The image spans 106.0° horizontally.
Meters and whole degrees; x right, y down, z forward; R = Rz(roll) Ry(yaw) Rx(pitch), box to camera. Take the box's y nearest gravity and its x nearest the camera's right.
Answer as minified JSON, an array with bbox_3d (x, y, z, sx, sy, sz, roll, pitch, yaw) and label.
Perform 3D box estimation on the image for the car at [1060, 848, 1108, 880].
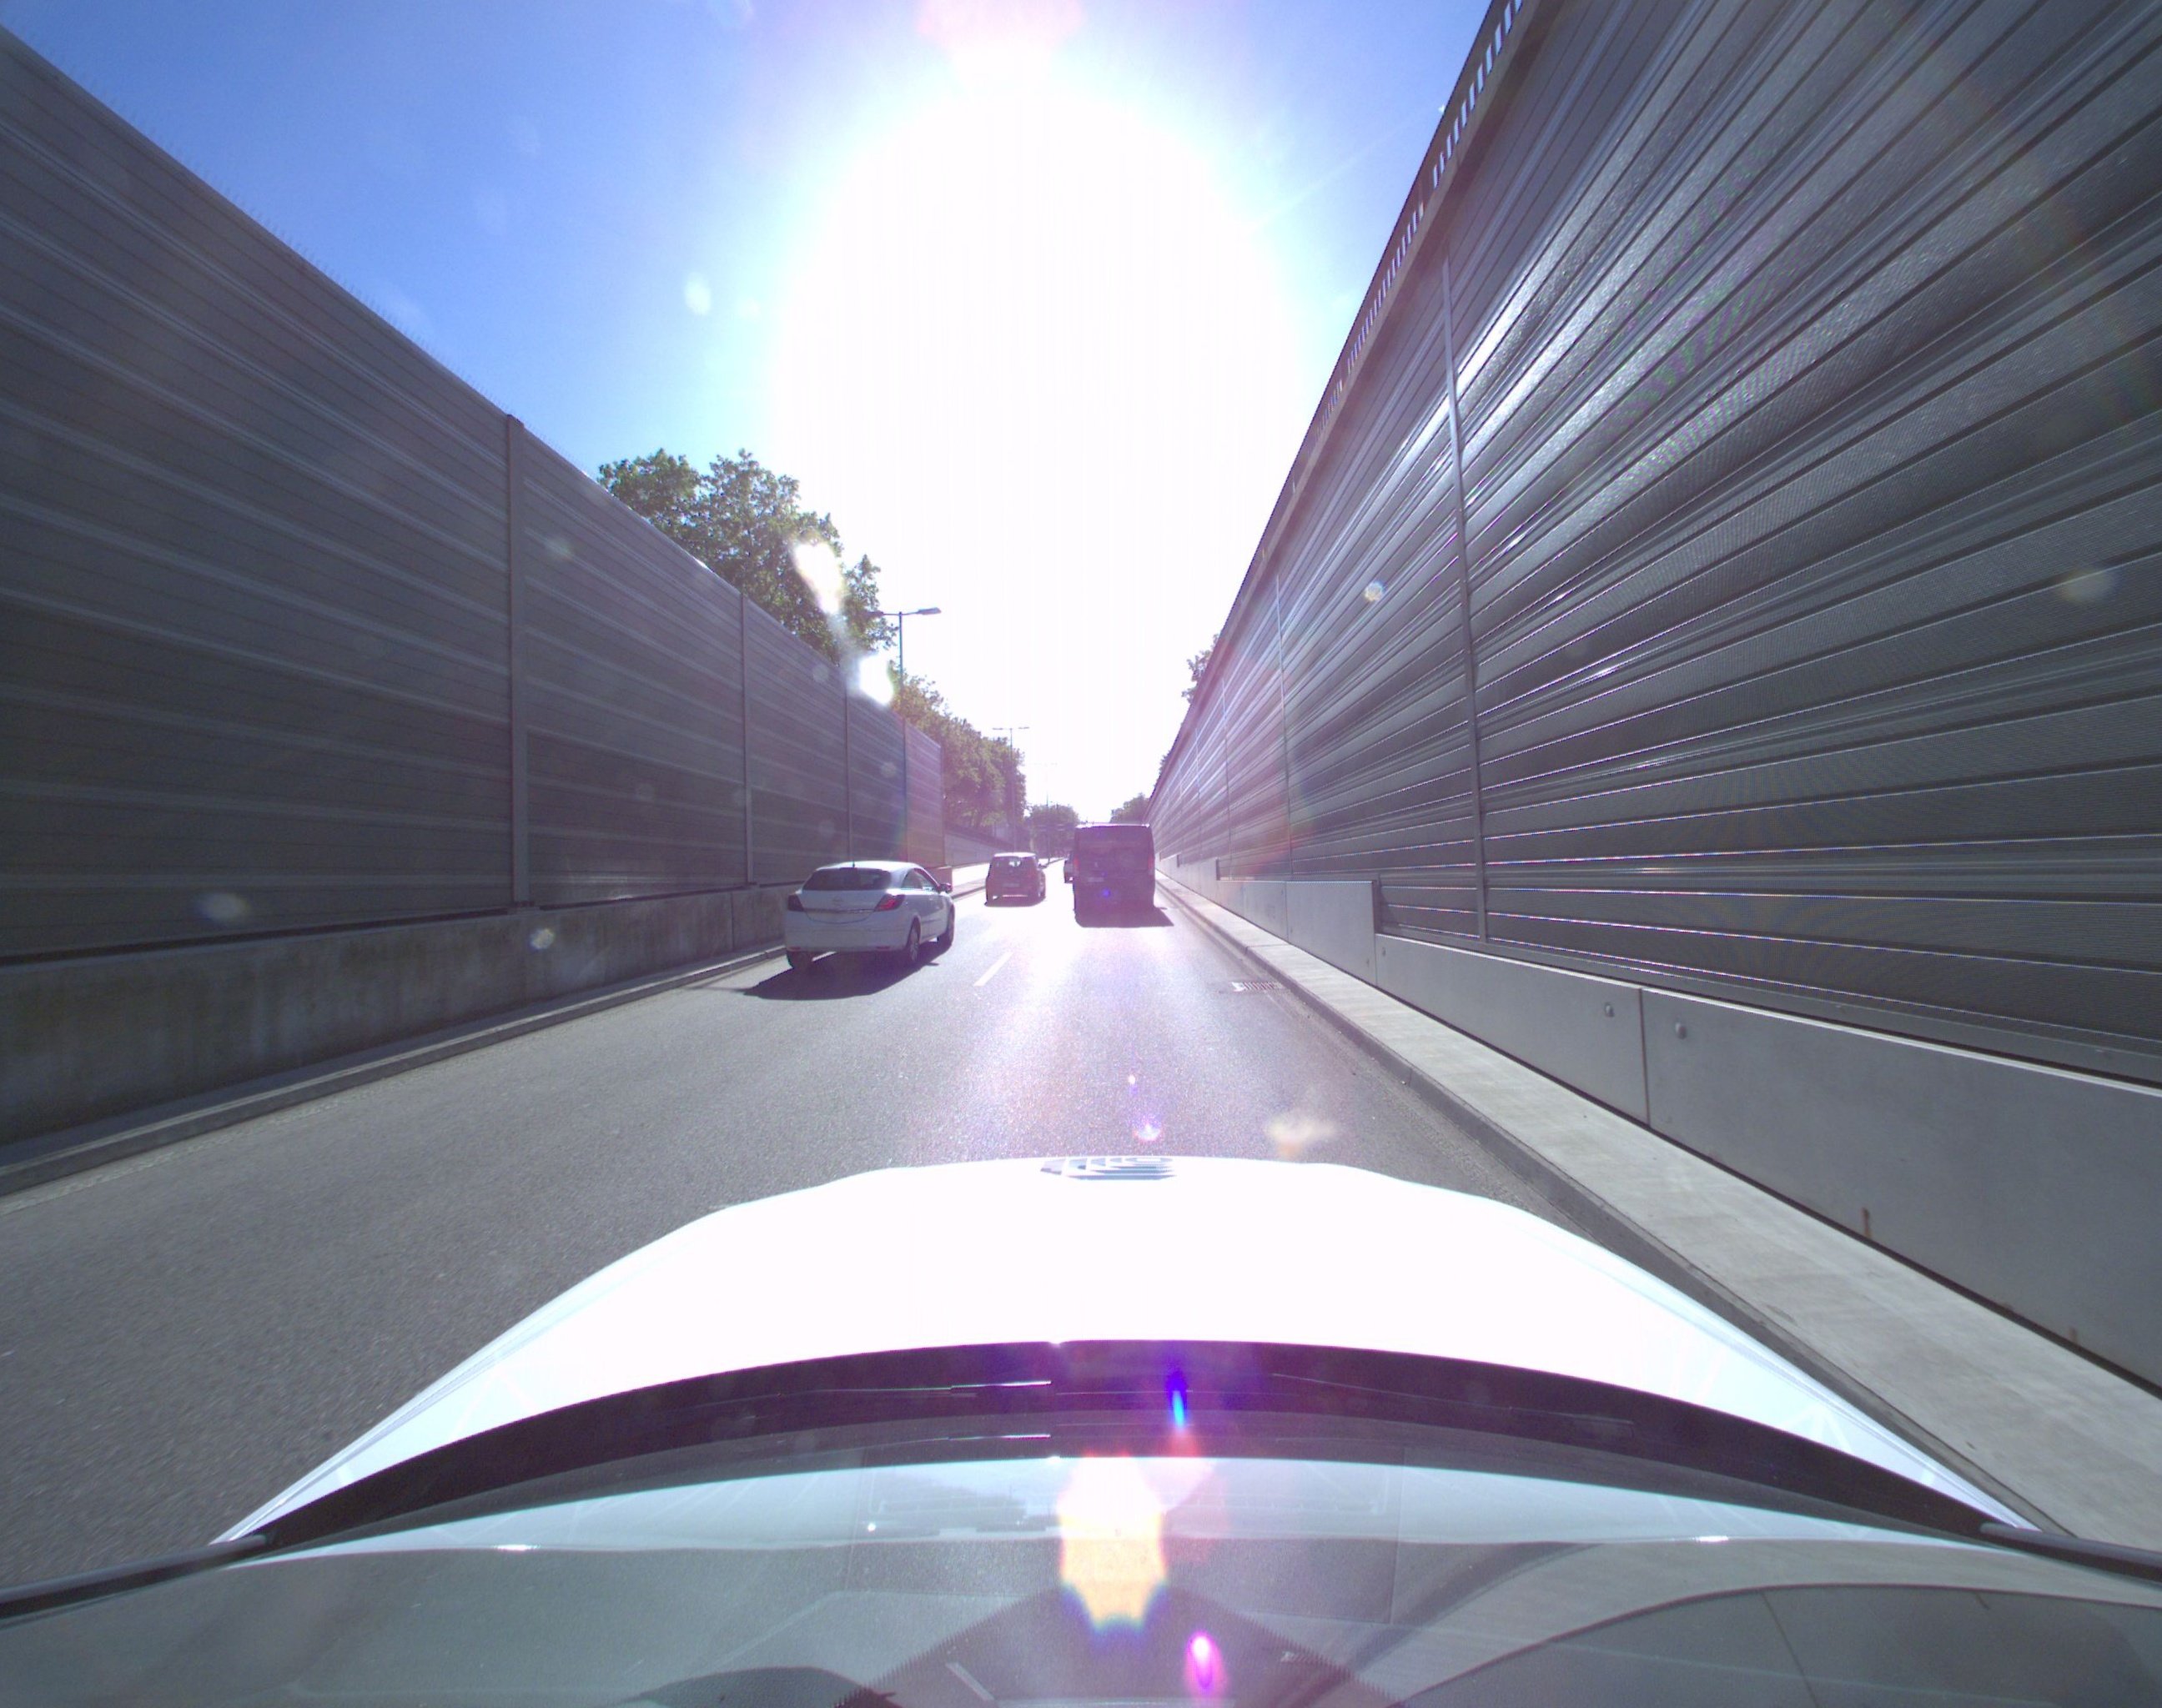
[{"bbox_3d":[0.198,0.440,39.212,1.882,1.475,3.998,-1,0,6],"label":"car"}]

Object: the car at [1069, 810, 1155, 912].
[{"bbox_3d":[0.835,0.168,21.631,2.022,2.402,3.975,-1,0,2],"label":"car"}]

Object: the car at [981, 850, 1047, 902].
[{"bbox_3d":[-2.049,0.632,25.706,1.682,1.483,3.320,-1,1,2],"label":"car"}]

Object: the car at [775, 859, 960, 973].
[{"bbox_3d":[-2.988,0.798,12.208,1.613,1.403,3.854,-1,0,2],"label":"car"}]
